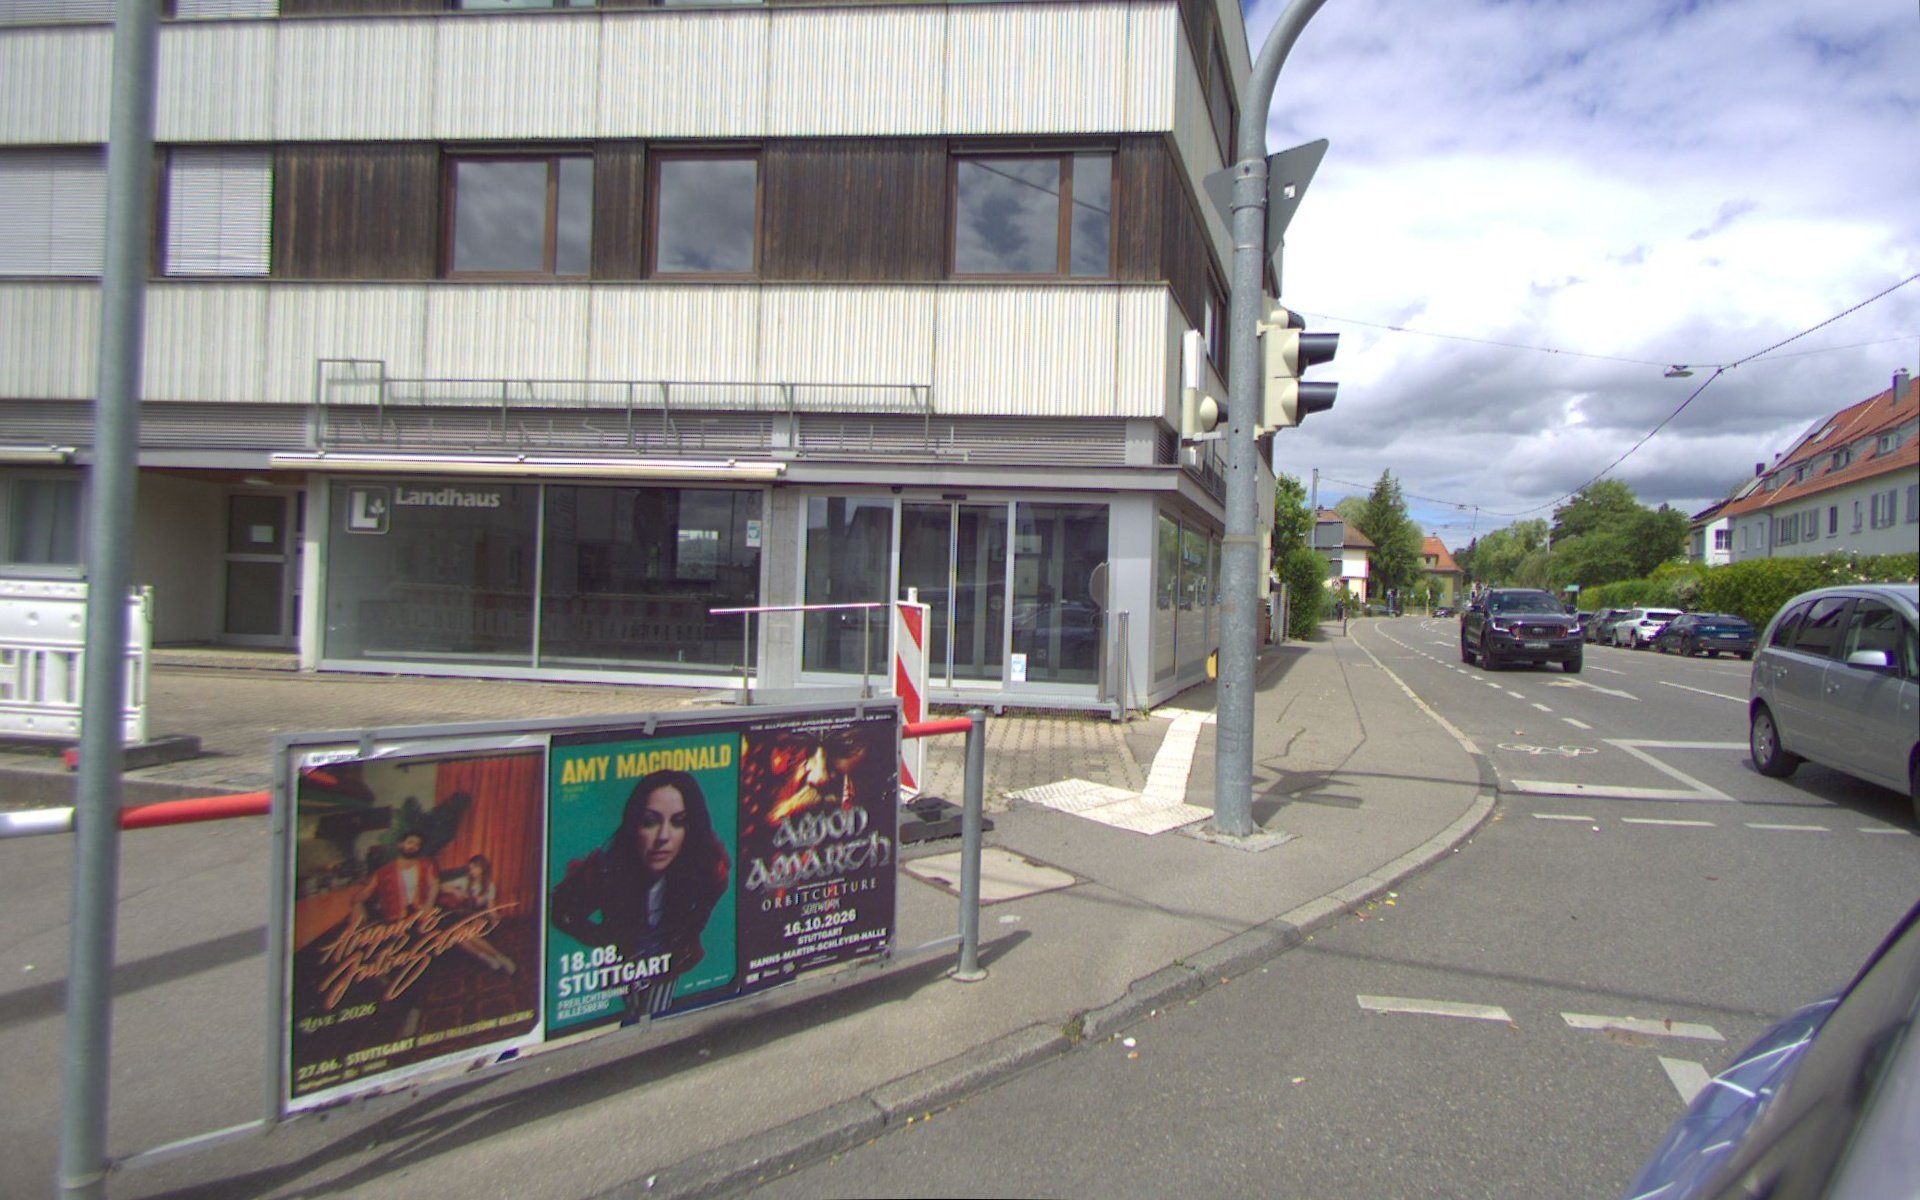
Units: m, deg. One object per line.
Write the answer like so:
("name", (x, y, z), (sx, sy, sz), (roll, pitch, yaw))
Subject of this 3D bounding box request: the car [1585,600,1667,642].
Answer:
("car", (28.498, 0.860, 43.454), (1.975, 1.653, 4.208), (1, 0, 20))

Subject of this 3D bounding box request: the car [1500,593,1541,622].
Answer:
("car", (38.794, 0.494, 70.146), (1.977, 1.939, 4.039), (1, 0, 22))

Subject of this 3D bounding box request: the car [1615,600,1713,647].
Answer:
("car", (26.863, 0.854, 38.784), (1.975, 1.653, 4.424), (1, 0, 20))

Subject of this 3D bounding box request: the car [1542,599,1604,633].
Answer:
("car", (32.621, 0.817, 53.963), (1.975, 1.653, 4.208), (1, 0, 20))

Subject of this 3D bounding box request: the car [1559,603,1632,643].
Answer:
("car", (30.538, 1.066, 48.753), (1.976, 1.653, 4.208), (5, 2, 20))

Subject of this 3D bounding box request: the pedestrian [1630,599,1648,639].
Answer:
("pedestrian", (31.490, 0.869, 46.925), (0.525, 1.839, 0.509), (1, 0, 16))

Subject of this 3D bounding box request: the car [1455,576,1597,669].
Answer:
("car", (12.836, 0.440, 23.297), (1.863, 1.872, 5.189), (1, 0, 18))

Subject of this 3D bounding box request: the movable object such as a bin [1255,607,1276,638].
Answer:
("movable object such as a bin", (9.308, 0.672, 30.845), (0.509, 0.933, 0.479), (1, 0, 2))

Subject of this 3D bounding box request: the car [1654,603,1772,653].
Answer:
("car", (25.235, 0.884, 34.093), (1.795, 1.520, 4.428), (1, 0, 17))

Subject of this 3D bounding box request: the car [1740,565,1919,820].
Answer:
("car", (7.146, 0.592, 6.886), (1.753, 1.595, 3.975), (1, 0, 20))
